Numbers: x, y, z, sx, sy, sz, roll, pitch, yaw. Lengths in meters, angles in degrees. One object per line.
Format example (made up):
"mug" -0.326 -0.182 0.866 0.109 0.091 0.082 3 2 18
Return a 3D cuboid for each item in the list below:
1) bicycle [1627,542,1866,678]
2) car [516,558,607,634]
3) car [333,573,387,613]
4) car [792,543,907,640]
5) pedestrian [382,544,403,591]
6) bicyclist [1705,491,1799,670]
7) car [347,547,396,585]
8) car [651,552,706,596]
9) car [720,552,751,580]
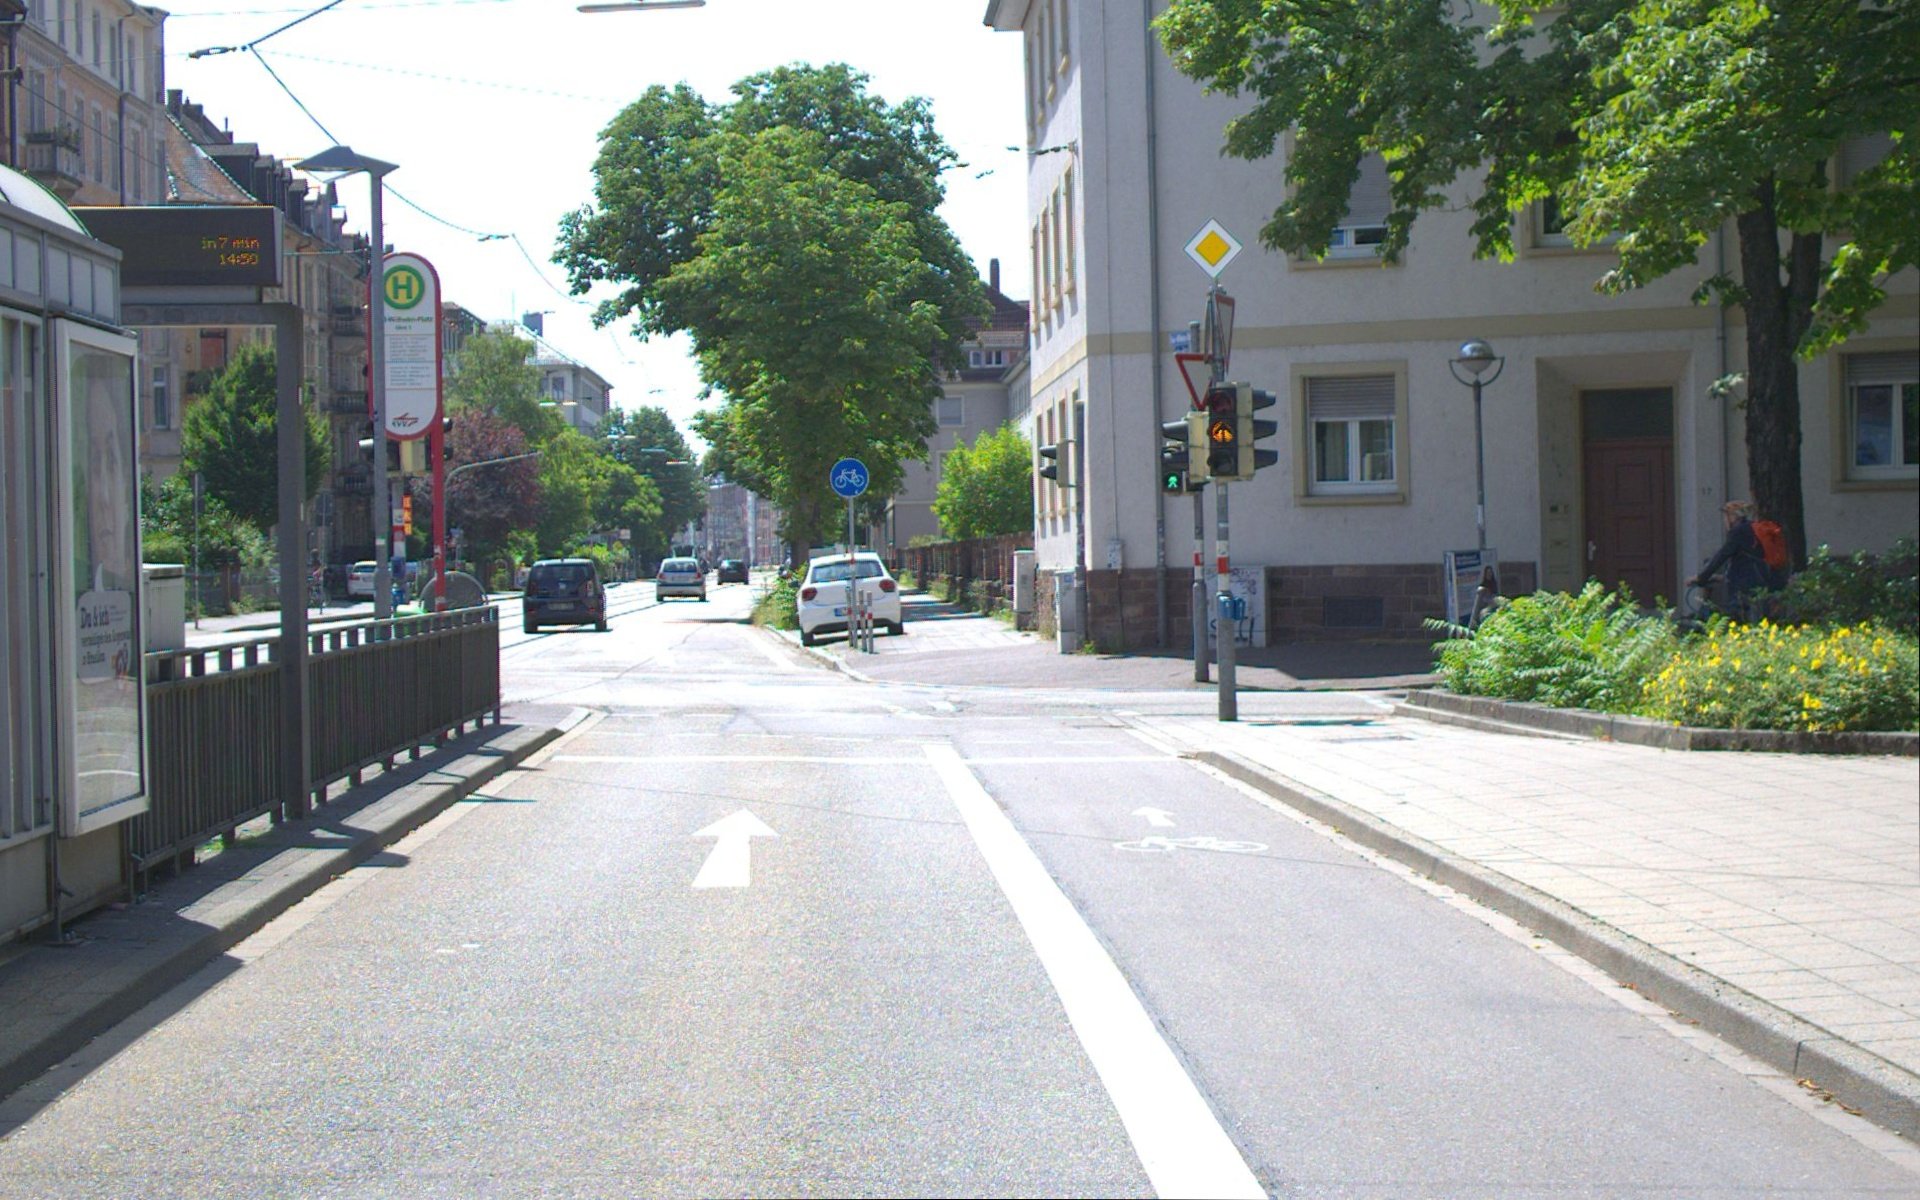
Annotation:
"bicycle" 7.304 0.092 31.972 2.084 1.232 0.580 0 1 31
"car" -8.071 -0.102 69.880 1.524 1.439 3.365 -3 1 -2
"car" -23.720 -0.289 135.962 1.684 1.467 3.939 -4 1 -5
"car" -1.909 -0.157 58.535 1.747 1.467 3.939 -4 1 -3
"pedestrian" -20.748 -1.195 125.710 0.677 1.721 0.677 -1 0 -3
"bicyclist" 7.362 -0.185 31.946 0.695 1.640 0.579 0 1 31
"car" -24.720 -1.428 144.523 1.628 1.467 3.564 -4 1 -5
"car" -9.666 -0.905 118.273 1.747 1.468 3.939 -1 1 -3
"car" -13.101 -1.992 200.576 1.628 1.467 3.564 -4 1 -5
